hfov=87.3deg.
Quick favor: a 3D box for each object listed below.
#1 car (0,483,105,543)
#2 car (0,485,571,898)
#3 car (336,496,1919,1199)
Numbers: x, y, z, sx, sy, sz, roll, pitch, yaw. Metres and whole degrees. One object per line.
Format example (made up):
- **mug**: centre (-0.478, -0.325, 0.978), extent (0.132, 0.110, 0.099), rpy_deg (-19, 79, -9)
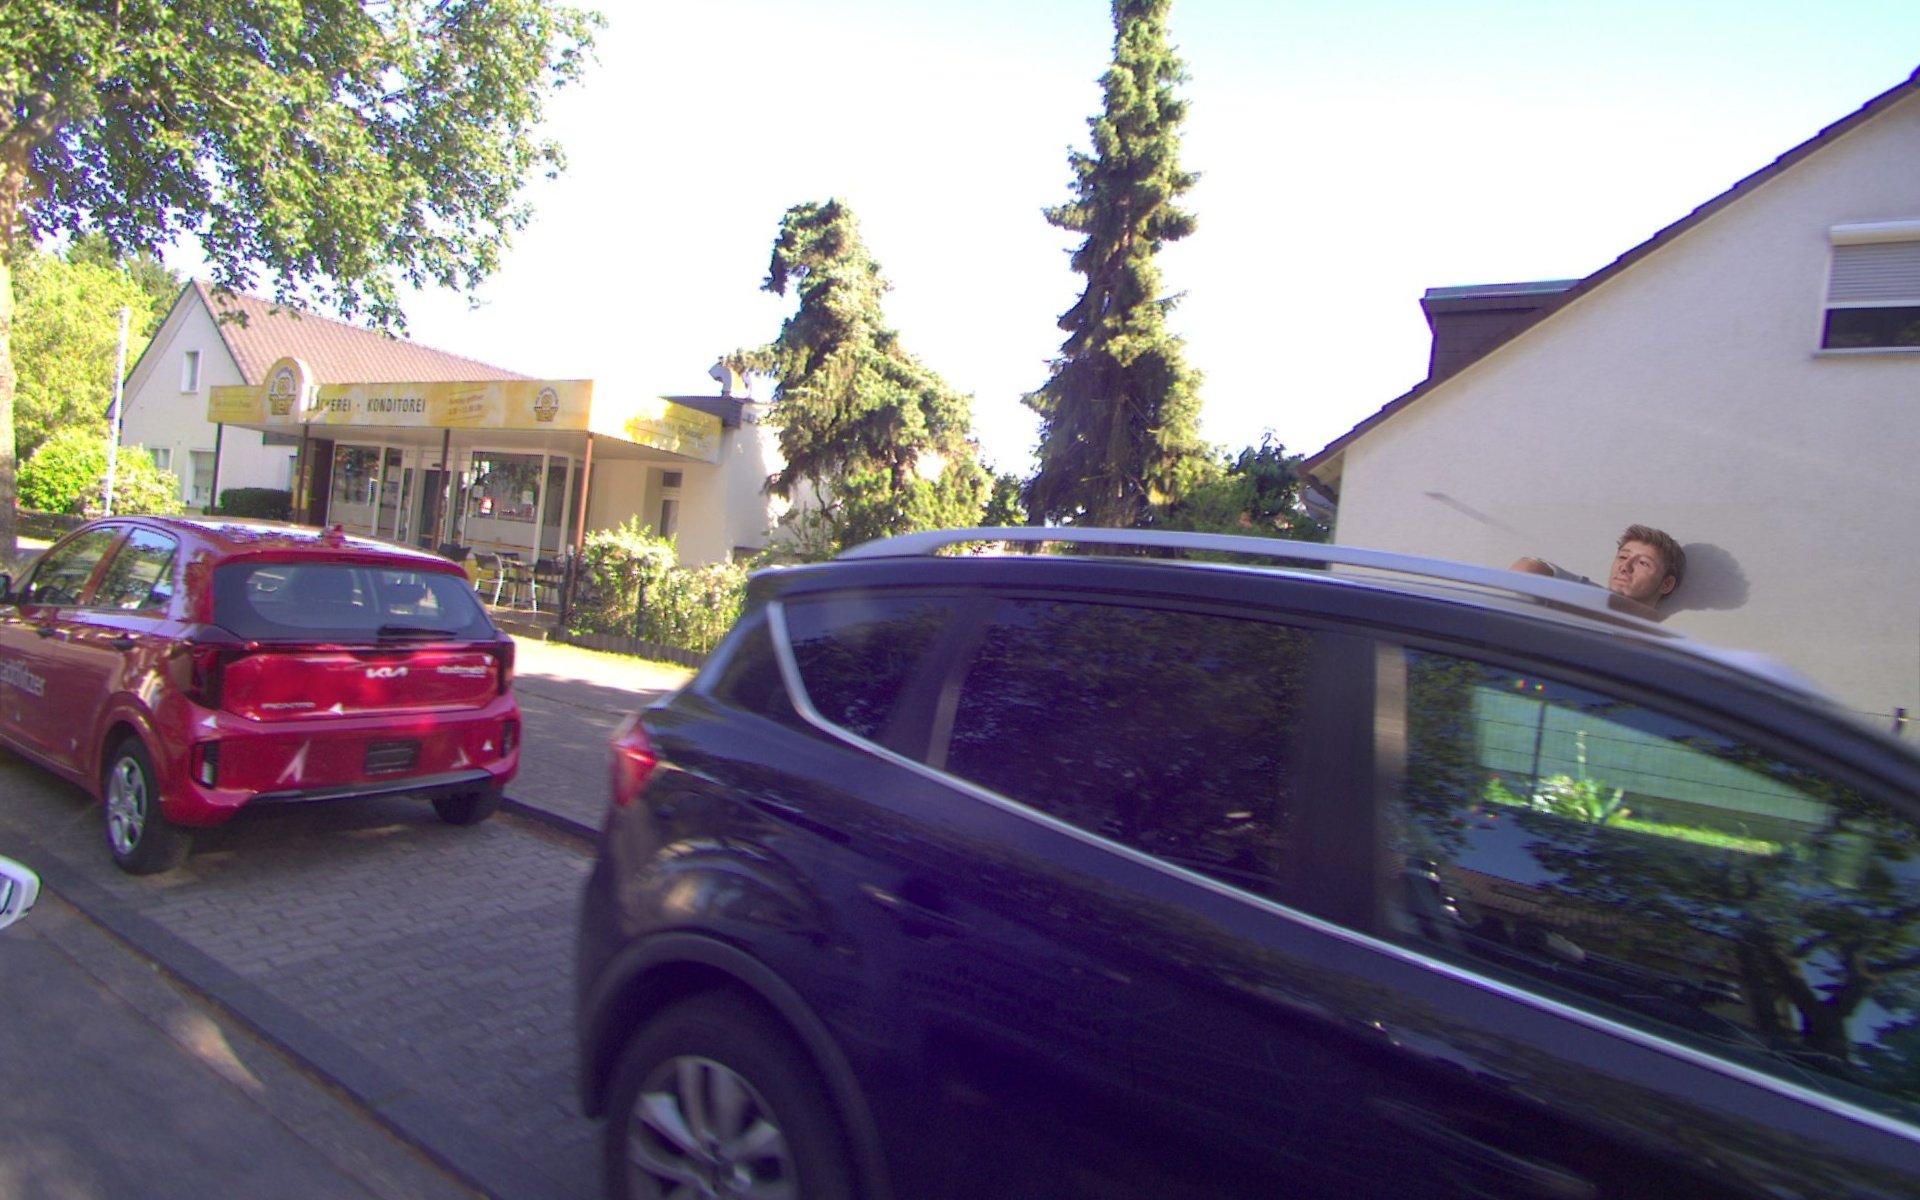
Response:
- **car**: centre (-32.924, -3.176, 35.049), extent (1.967, 1.628, 4.293), rpy_deg (9, 0, 32)
- **car**: centre (-4.122, 0.238, 5.568), extent (3.825, 1.498, 1.697), rpy_deg (7, 2, 33)
- **car**: centre (0.796, 0.797, 2.198), extent (4.396, 1.647, 1.853), rpy_deg (6, 2, 32)
